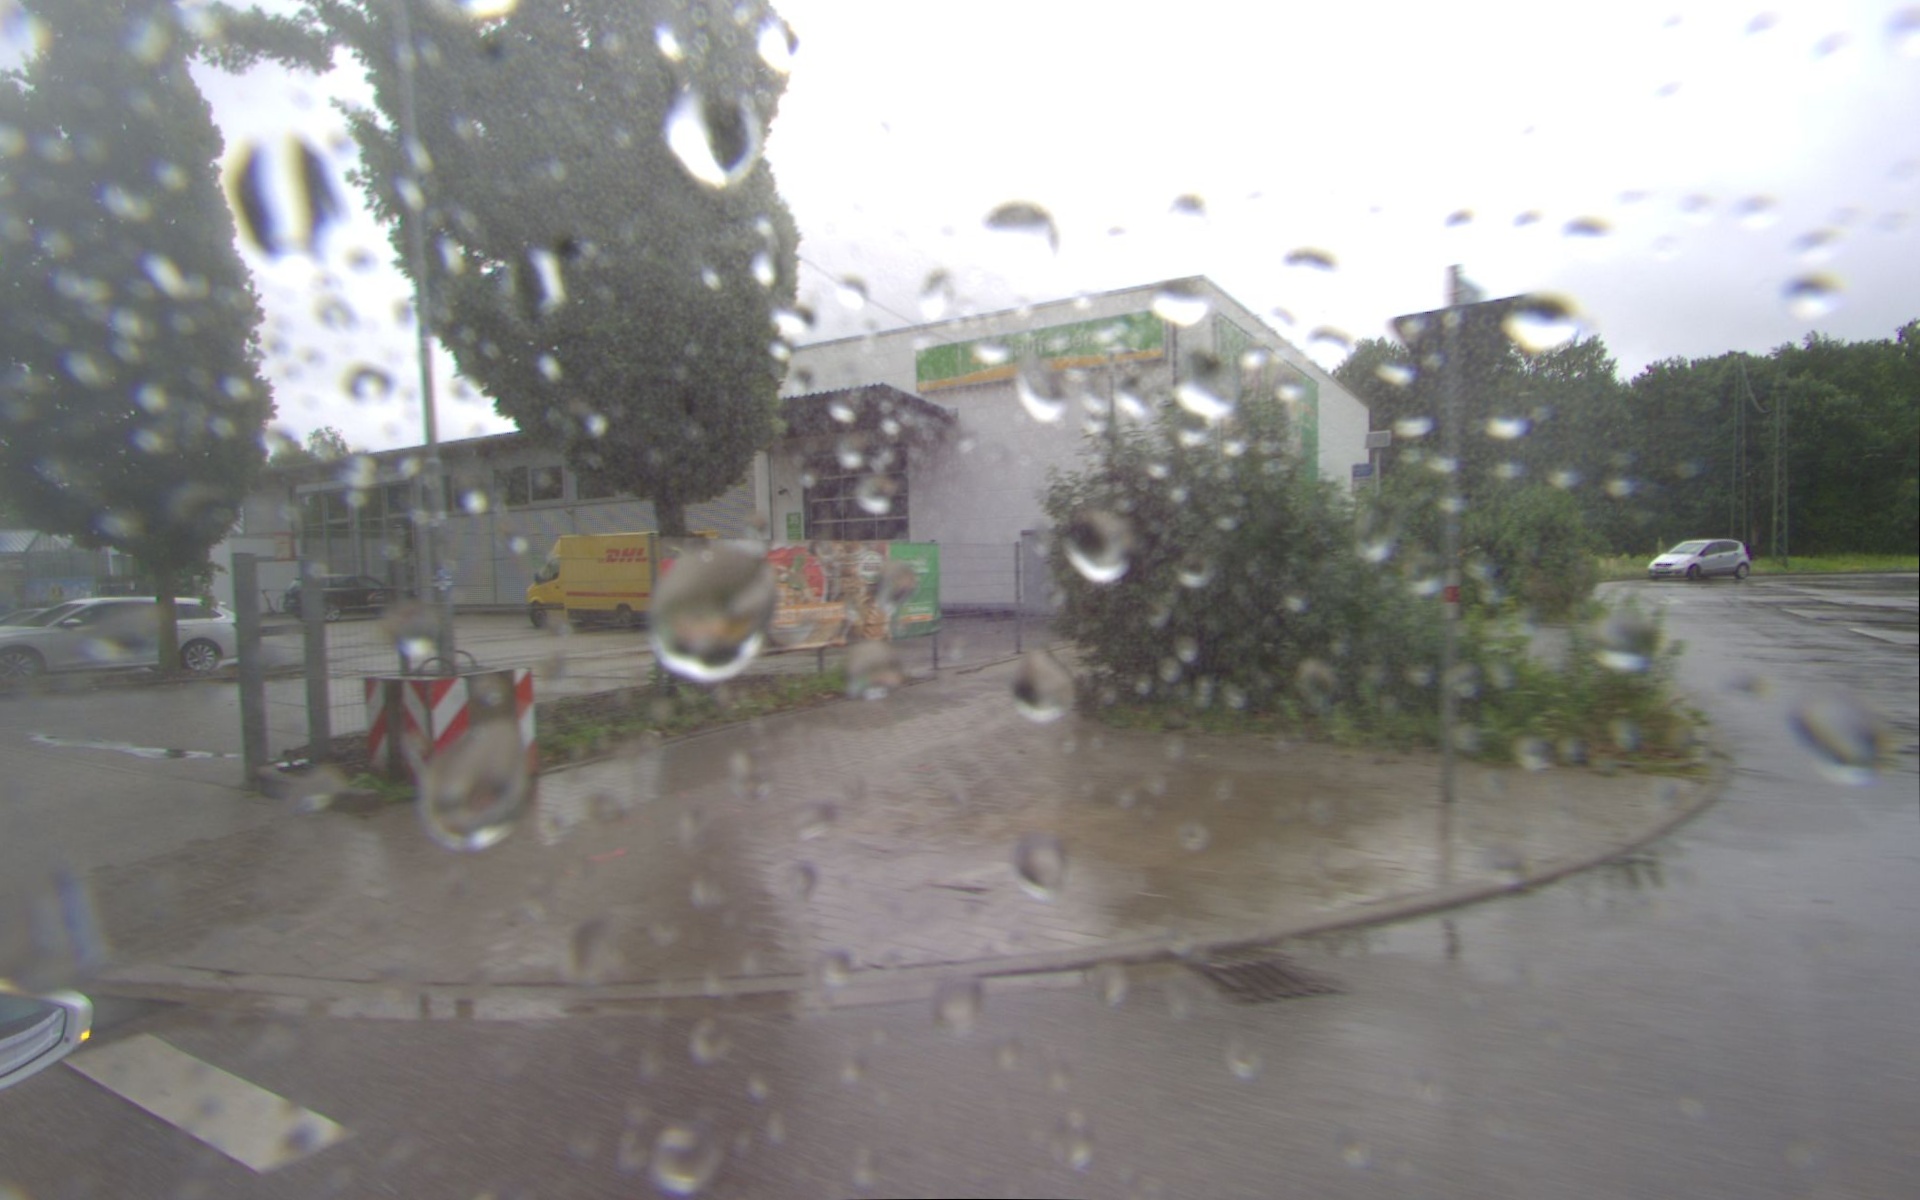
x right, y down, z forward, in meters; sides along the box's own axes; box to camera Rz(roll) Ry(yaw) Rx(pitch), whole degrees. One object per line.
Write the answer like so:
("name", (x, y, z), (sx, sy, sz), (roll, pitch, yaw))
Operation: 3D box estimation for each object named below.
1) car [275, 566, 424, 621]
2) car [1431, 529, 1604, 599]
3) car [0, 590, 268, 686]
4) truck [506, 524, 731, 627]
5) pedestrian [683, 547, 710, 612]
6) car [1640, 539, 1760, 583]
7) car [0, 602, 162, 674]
("car", (-23.318, -0.285, 38.402), (2.034, 1.858, 4.349), (1, 4, 33))
("car", (16.289, -1.043, 29.460), (4.315, 1.849, 1.781), (-1, 4, 28))
("car", (-15.926, 0.628, 18.588), (1.862, 1.483, 4.694), (0, 2, 30))
("truck", (-10.214, -0.707, 29.570), (7.315, 2.697, 2.292), (0, 4, 35))
("pedestrian", (-7.159, -0.565, 27.179), (0.427, 1.742, 0.453), (1, 5, 35))
("car", (30.107, -1.596, 40.758), (3.927, 1.623, 1.879), (-2, 3, -15))
("car", (-18.346, 0.734, 19.604), (1.595, 1.273, 3.931), (0, 1, 30))
